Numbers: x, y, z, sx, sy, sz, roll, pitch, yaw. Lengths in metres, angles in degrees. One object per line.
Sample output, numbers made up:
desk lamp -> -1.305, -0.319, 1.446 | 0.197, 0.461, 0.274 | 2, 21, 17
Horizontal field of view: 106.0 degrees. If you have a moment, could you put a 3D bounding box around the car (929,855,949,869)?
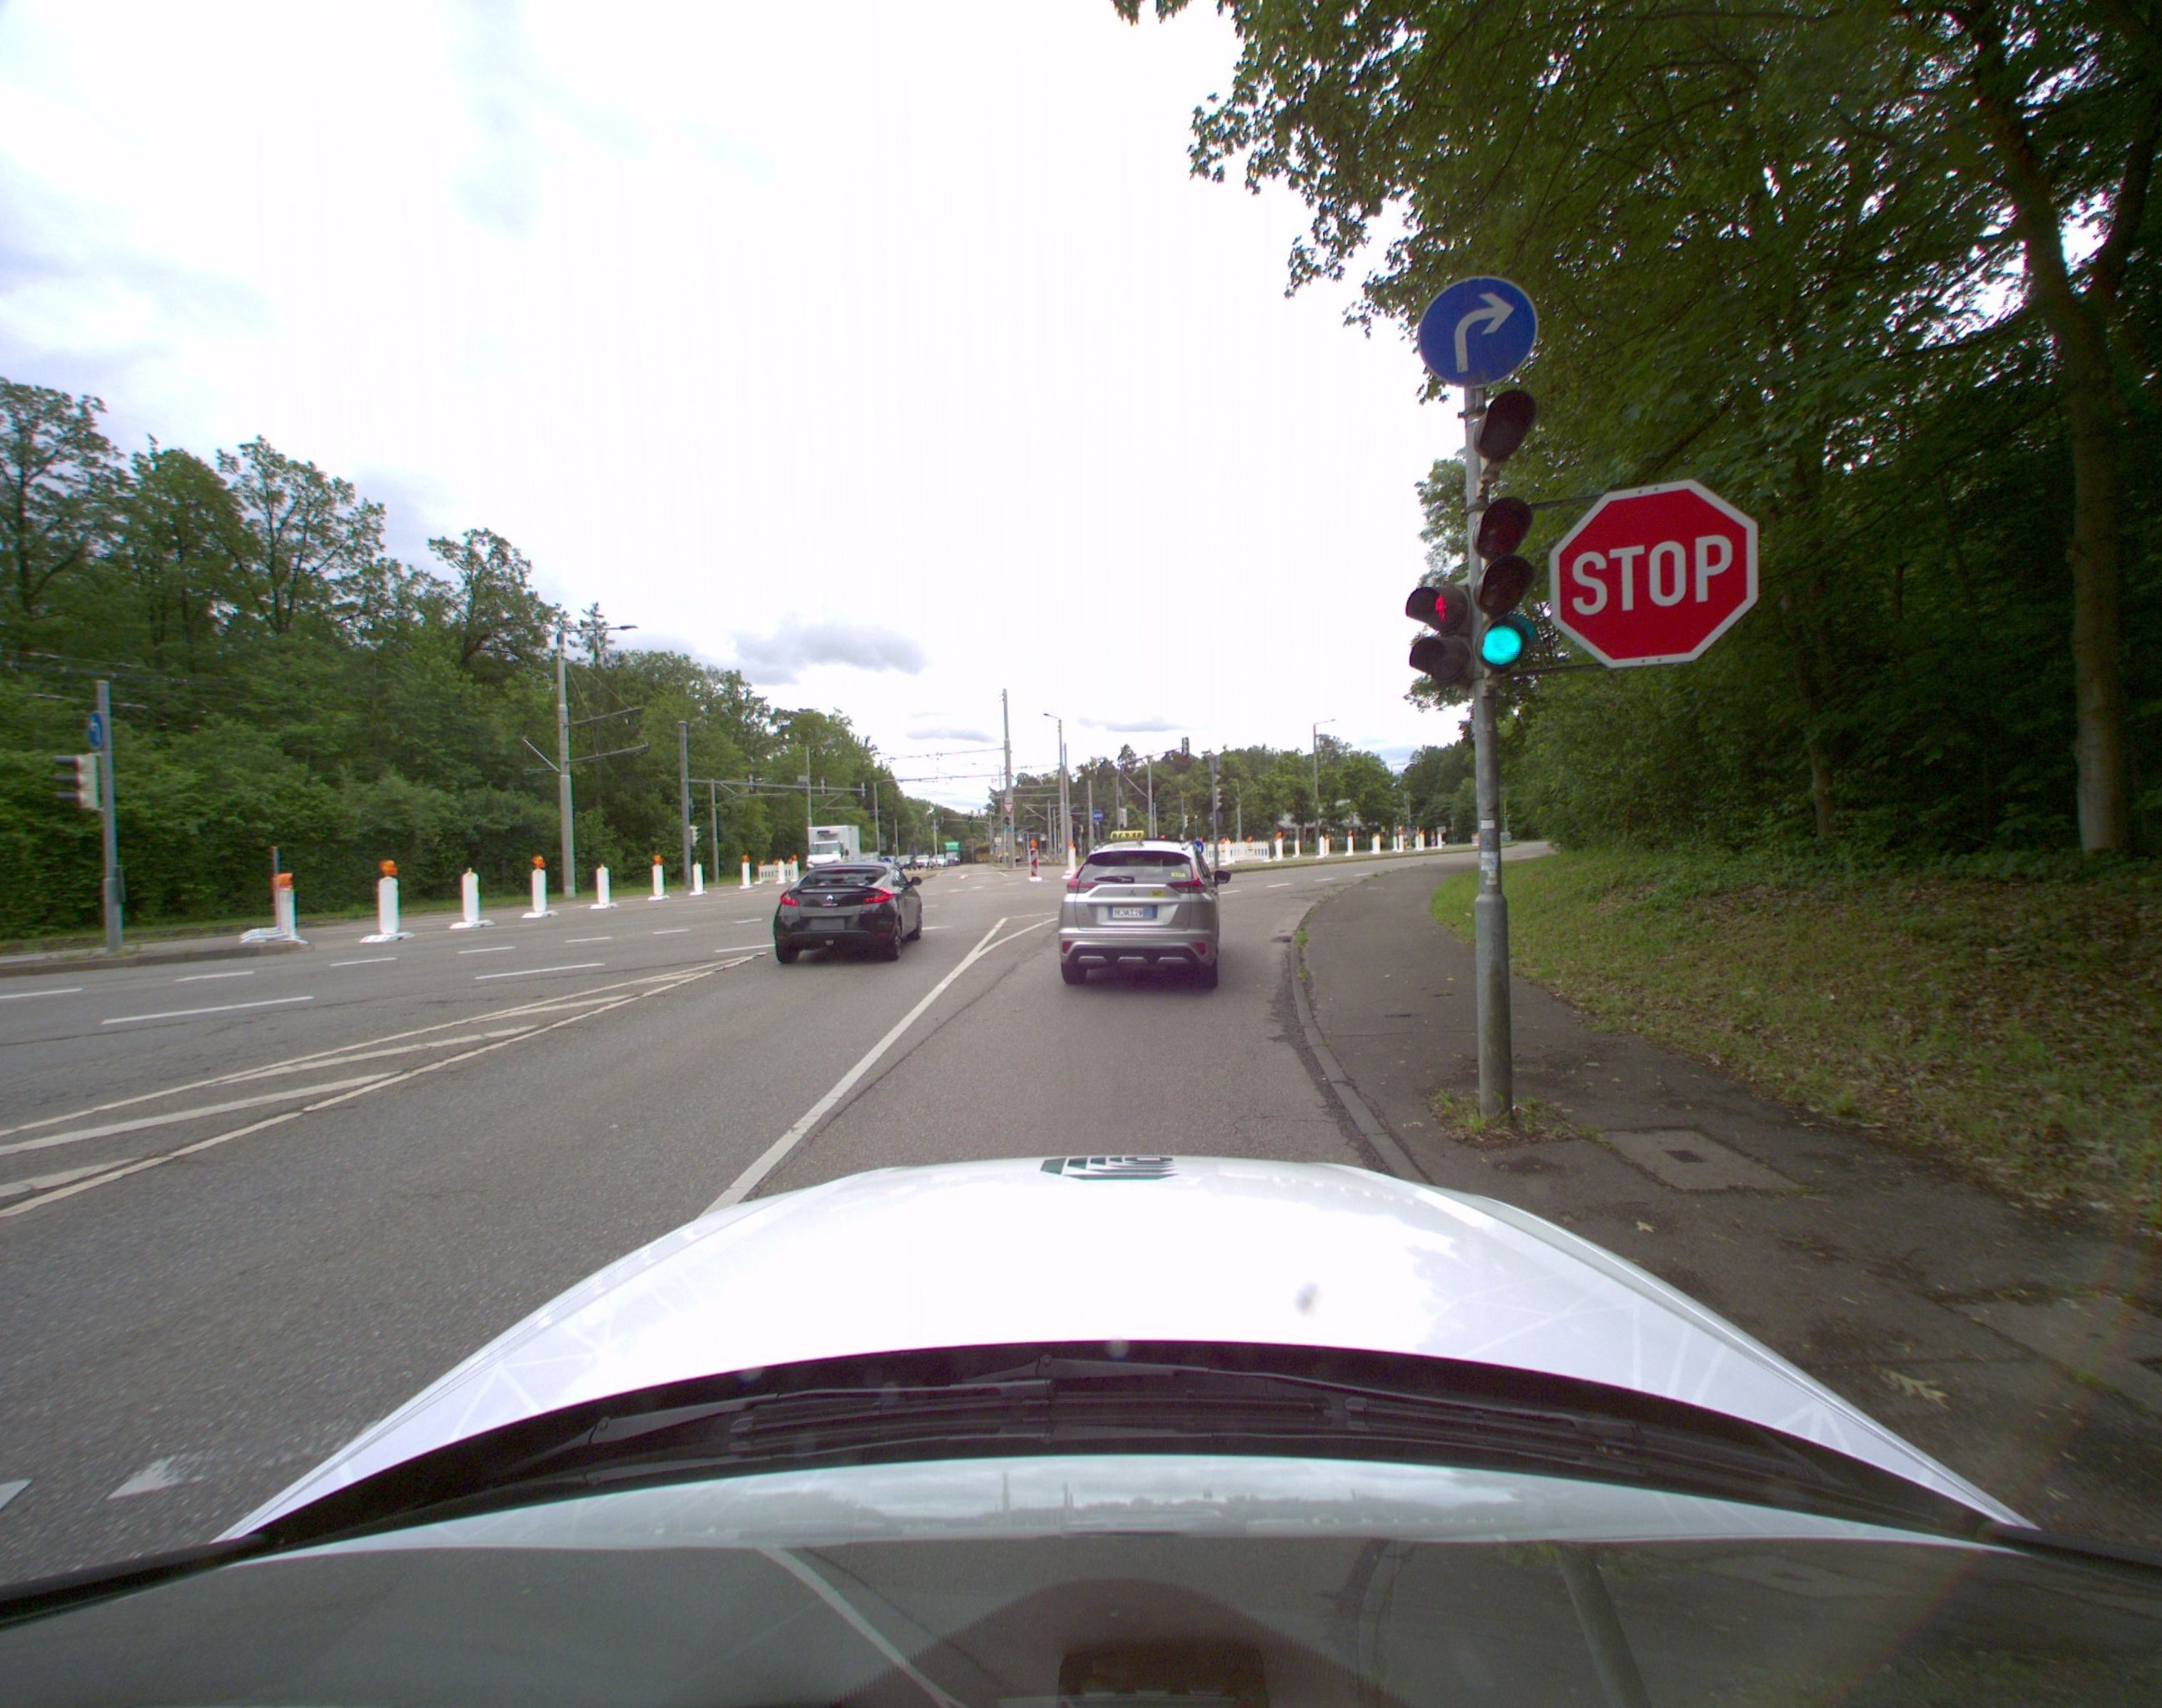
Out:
car -> -17.204, 0.936, 98.989 | 1.959, 1.541, 4.388 | -3, 0, -5

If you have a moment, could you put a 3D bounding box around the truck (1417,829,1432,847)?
truck -> 69.256, -3.211, 164.209 | 2.462, 3.286, 8.564 | -3, 0, 21

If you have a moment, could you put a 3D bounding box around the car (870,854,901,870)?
car -> -17.559, 0.695, 73.292 | 1.959, 1.361, 4.682 | -3, 0, -5

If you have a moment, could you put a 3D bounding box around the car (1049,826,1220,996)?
car -> 0.866, 0.584, 10.381 | 1.763, 1.748, 3.791 | -1, 0, 10

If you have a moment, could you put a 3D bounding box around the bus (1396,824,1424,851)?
bus -> 47.391, -2.441, 117.526 | 2.799, 3.603, 12.866 | -2, 1, 18

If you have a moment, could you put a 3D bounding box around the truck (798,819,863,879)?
truck -> -14.980, -0.271, 49.153 | 2.447, 3.224, 7.136 | -3, 0, -8

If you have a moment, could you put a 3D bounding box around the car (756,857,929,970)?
car -> -3.460, 0.785, 12.472 | 1.770, 1.361, 3.471 | -3, 0, -4

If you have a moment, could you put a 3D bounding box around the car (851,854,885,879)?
car -> -16.650, 0.934, 63.856 | 1.961, 1.750, 4.831 | -3, 0, -9

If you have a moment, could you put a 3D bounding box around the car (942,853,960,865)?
car -> -17.938, 0.622, 112.490 | 1.959, 1.540, 4.303 | -3, 0, -5

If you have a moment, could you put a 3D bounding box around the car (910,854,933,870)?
car -> -18.133, 0.898, 92.749 | 1.959, 1.607, 4.303 | -3, 0, -5

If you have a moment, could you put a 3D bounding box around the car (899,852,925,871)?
car -> -17.381, 0.721, 83.819 | 1.959, 1.845, 4.682 | -3, 0, -5
